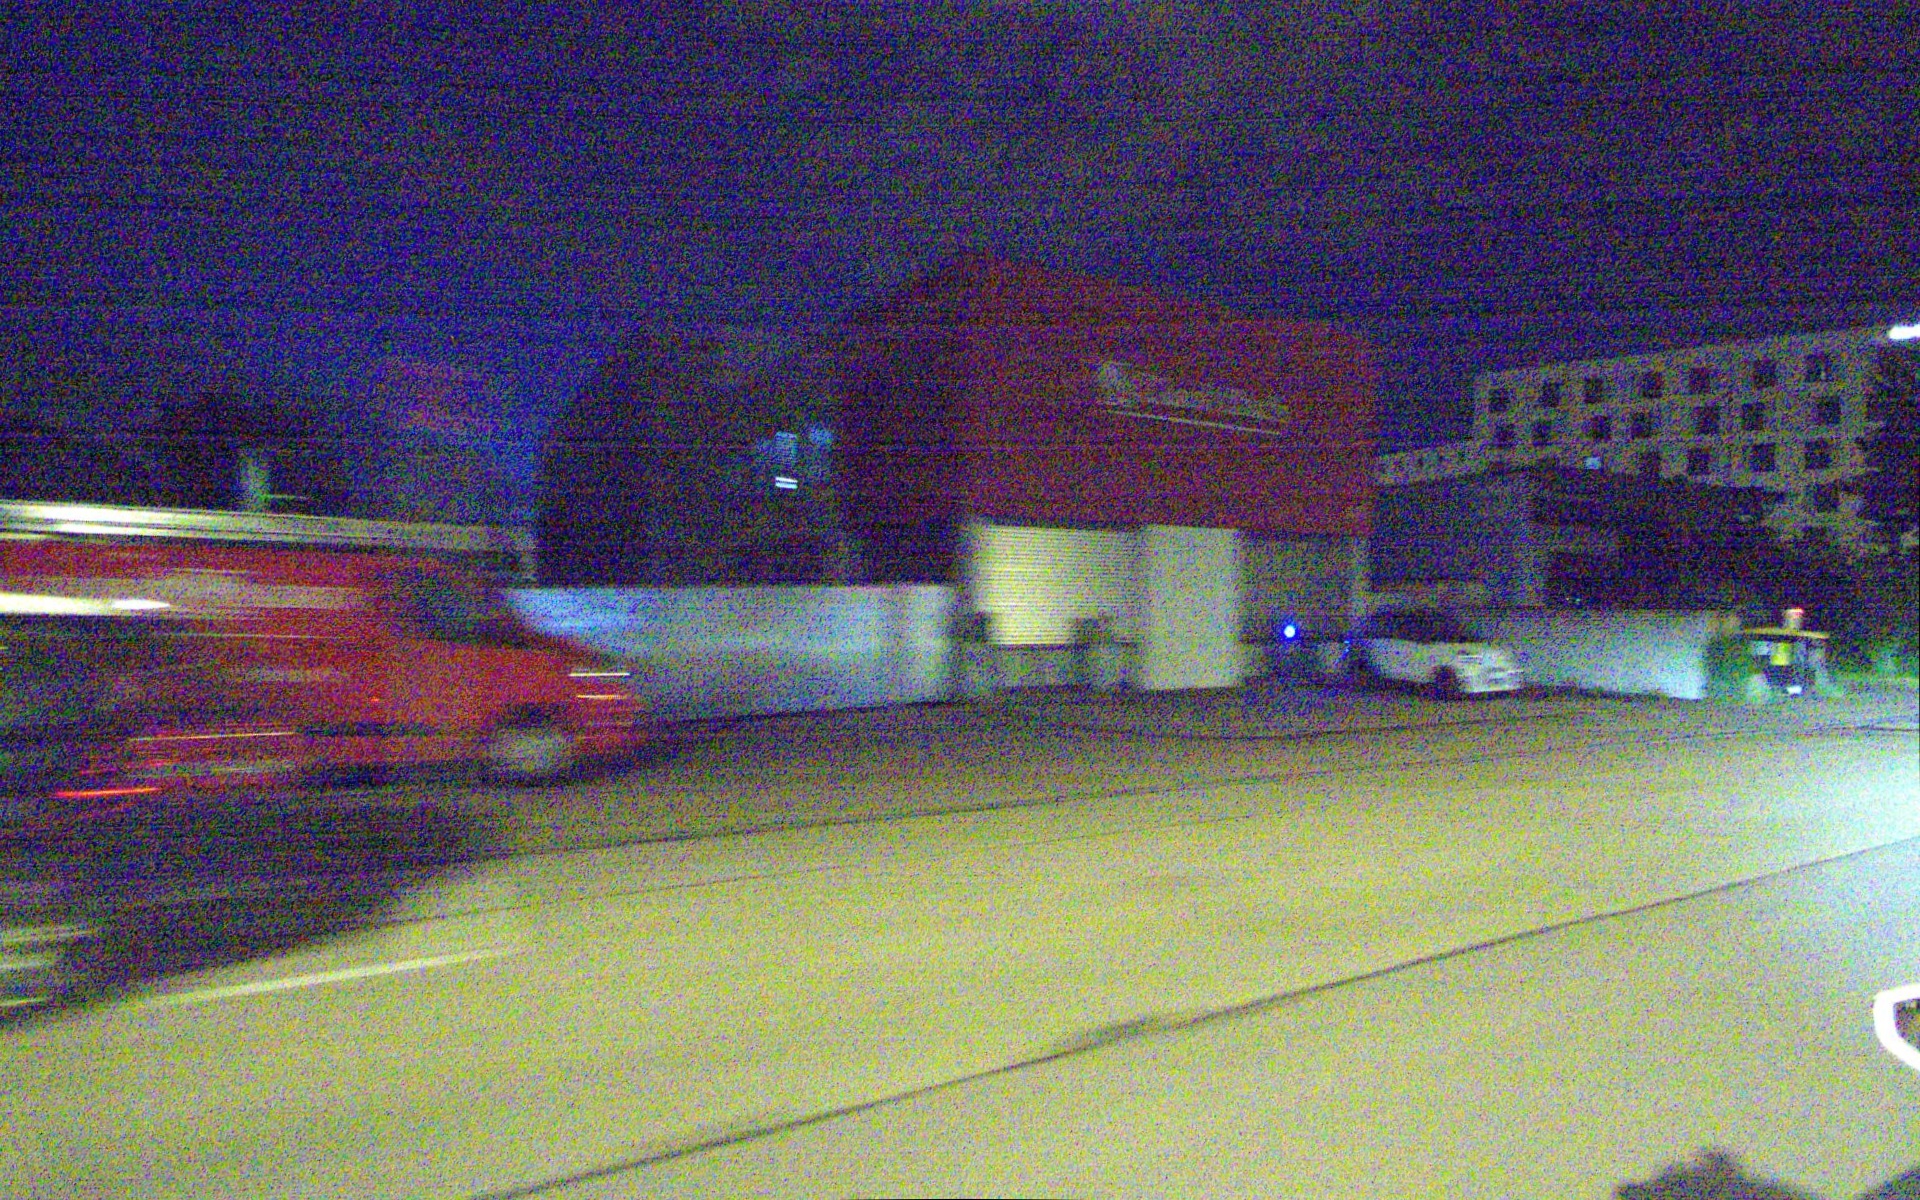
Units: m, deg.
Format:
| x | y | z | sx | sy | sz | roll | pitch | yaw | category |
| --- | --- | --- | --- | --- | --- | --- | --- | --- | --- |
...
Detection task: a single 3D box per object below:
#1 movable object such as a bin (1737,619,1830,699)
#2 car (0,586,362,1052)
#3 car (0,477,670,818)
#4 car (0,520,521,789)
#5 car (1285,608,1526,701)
| x | y | z | sx | sy | sz | roll | pitch | yaw | category |
| --- | --- | --- | --- | --- | --- | --- | --- | --- | --- |
| 16.374 | 1.146 | 19.987 | 1.054 | 1.515 | 1.158 | 1 | -1 | -32 | movable object such as a bin |
| -4.710 | 0.720 | 3.568 | 4.264 | 1.546 | 1.750 | 1 | -1 | -26 | car |
| -5.189 | 0.389 | 8.727 | 4.900 | 2.352 | 1.988 | 1 | -3 | -26 | car |
| -7.166 | 0.521 | 10.631 | 4.562 | 2.352 | 2.201 | 1 | -1 | -26 | car |
| 8.408 | 0.986 | 19.290 | 1.795 | 1.591 | 3.970 | 1 | -2 | -29 | car |
